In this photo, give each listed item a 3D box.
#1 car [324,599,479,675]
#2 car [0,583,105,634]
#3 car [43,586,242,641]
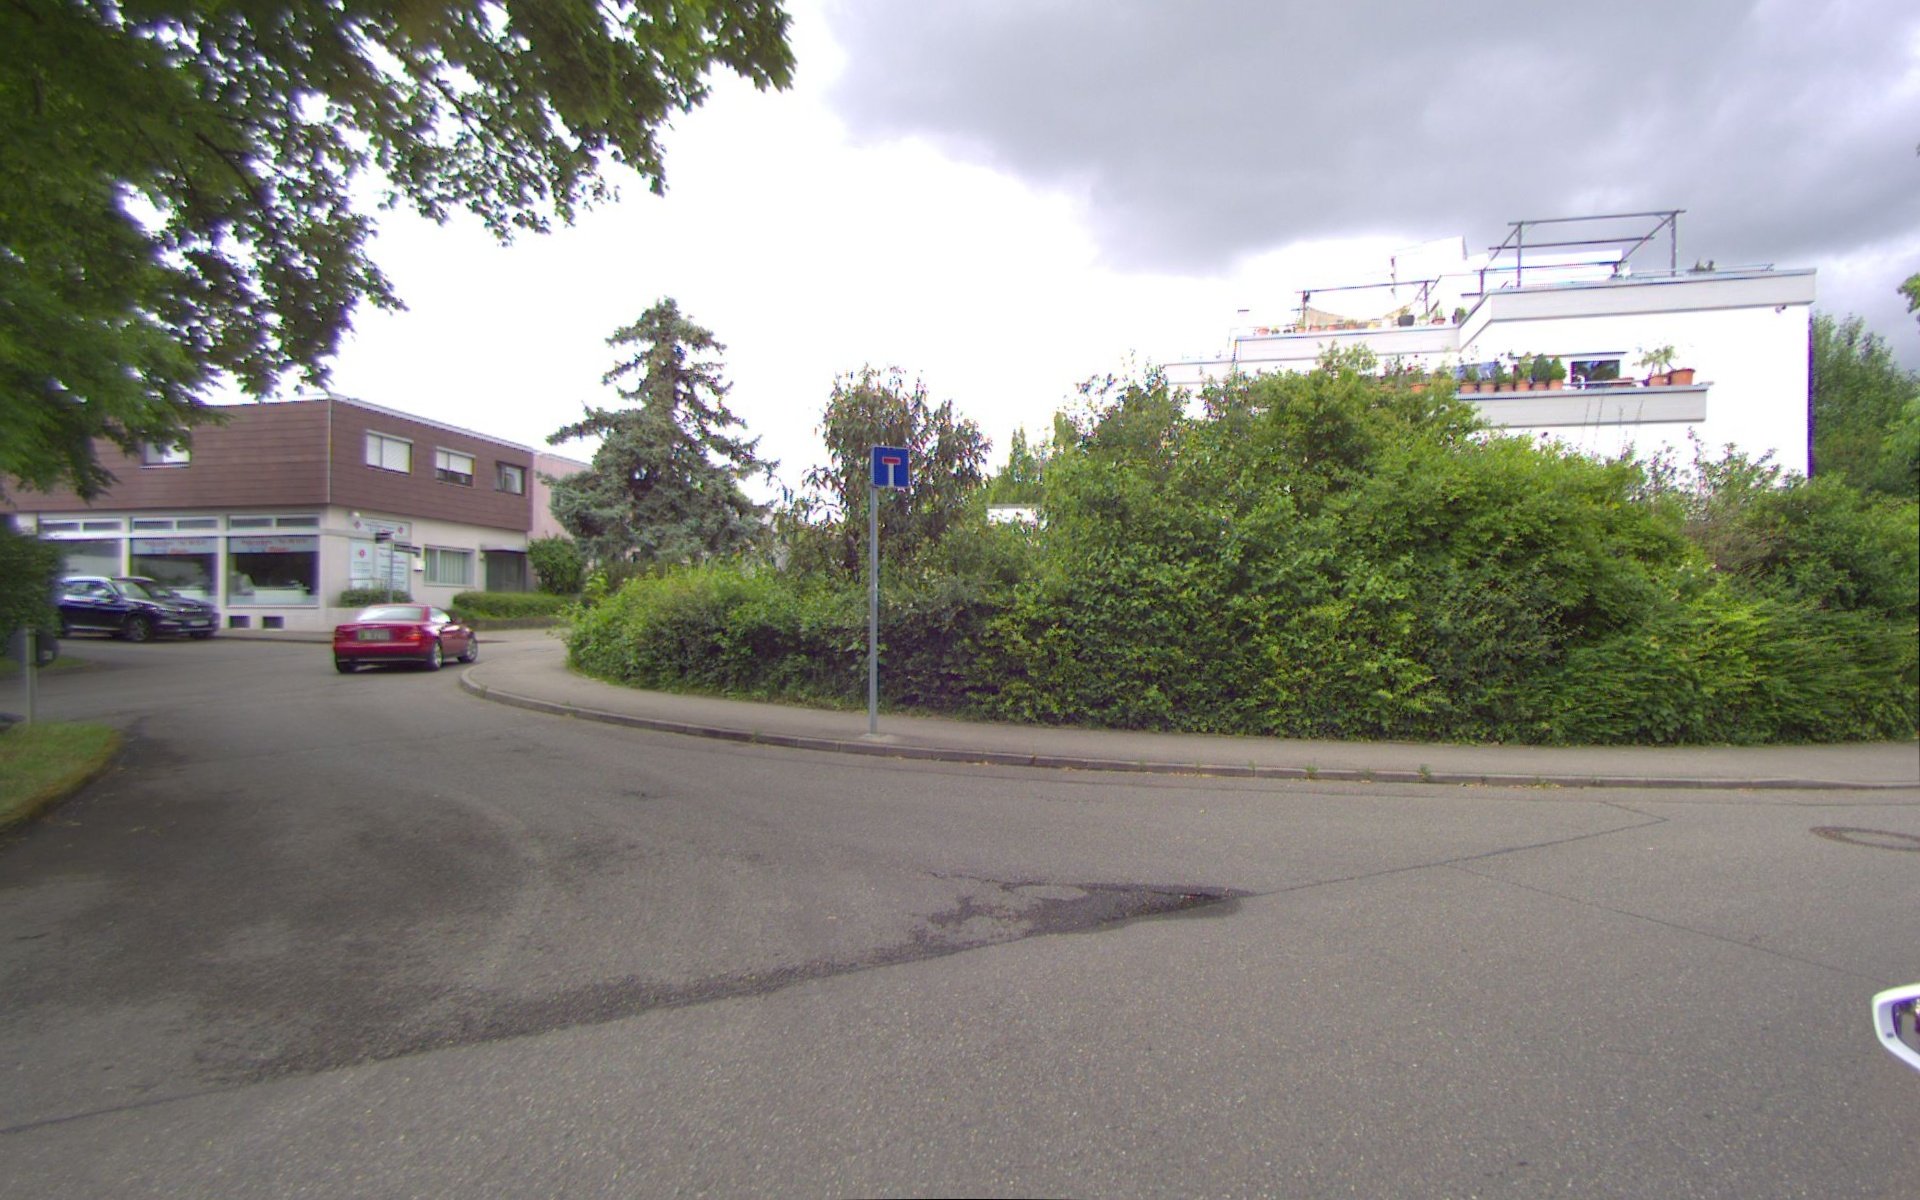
[{"bbox_3d":[-10.995,0.680,20.089,1.727,1.353,4.053,1,-1,-15],"label":"car"},{"bbox_3d":[-27.019,0.209,28.676,3.919,1.394,1.976,1,1,11],"label":"car"},{"bbox_3d":[-22.028,0.325,27.132,4.192,1.394,2.001,1,1,13],"label":"car"}]
